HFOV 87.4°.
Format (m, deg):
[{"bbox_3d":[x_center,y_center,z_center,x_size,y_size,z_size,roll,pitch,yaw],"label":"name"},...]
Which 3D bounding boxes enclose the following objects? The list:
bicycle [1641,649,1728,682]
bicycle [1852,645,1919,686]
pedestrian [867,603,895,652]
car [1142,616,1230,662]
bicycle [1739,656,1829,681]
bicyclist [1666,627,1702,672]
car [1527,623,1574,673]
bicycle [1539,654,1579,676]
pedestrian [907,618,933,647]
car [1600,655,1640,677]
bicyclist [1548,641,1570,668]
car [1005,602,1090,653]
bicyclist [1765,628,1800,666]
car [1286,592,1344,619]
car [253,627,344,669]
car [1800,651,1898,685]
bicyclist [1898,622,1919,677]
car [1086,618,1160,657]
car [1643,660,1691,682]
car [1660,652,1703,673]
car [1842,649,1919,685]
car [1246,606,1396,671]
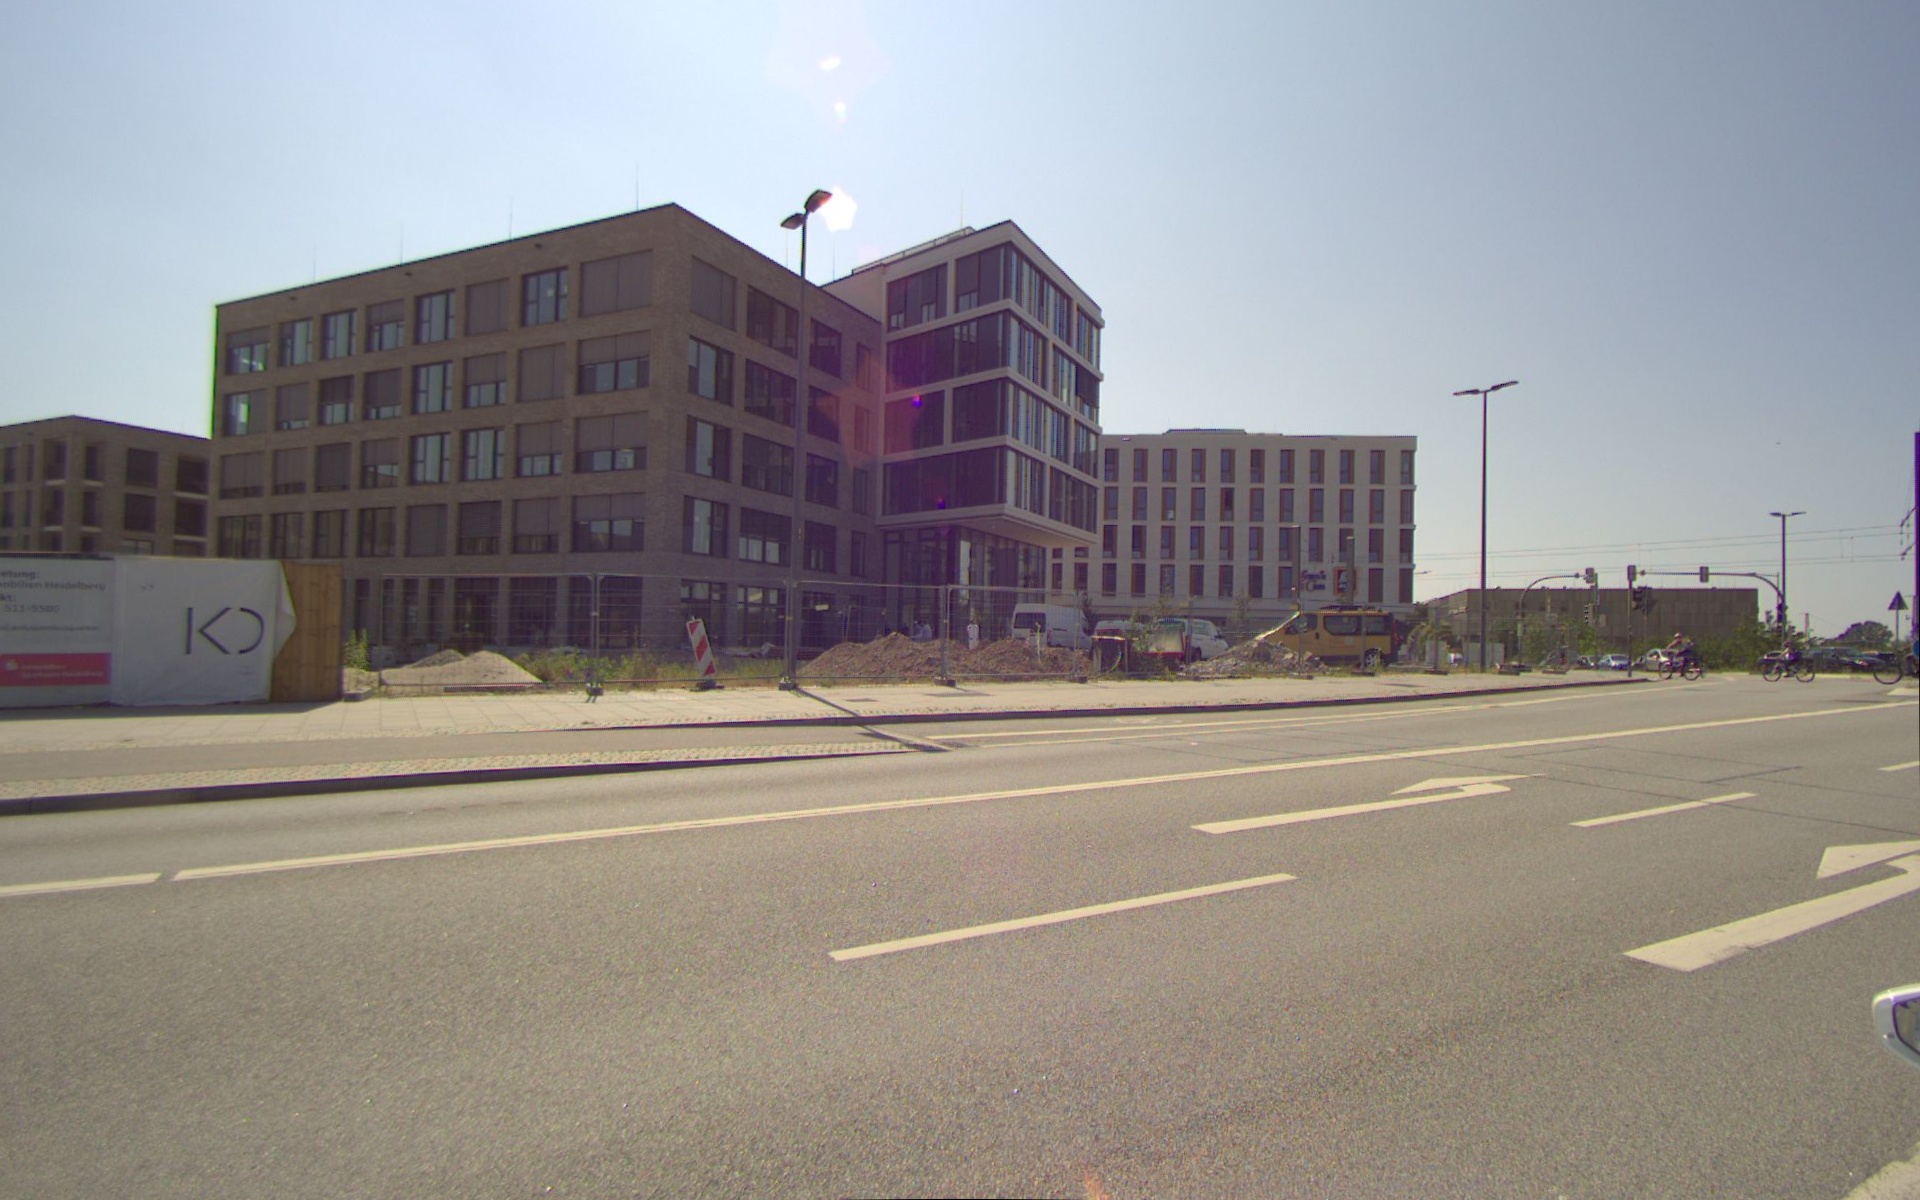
[{"bbox_3d":[25.313,2.268,35.163,0.597,1.020,2.497,2,-1,-25],"label":"bicycle"},{"bbox_3d":[28.185,1.919,29.767,0.723,1.148,2.502,0,-5,-43],"label":"bicycle"},{"bbox_3d":[-3.425,1.174,43.327,0.949,2.040,0.940,2,0,-17],"label":"pedestrian"},{"bbox_3d":[9.545,1.623,42.137,1.969,1.730,4.546,2,0,35],"label":"car"},{"bbox_3d":[26.859,2.228,32.797,0.509,0.701,2.236,2,-1,-29],"label":"bicycle"},{"bbox_3d":[25.331,1.723,35.157,0.832,1.522,0.655,2,0,-25],"label":"bicyclist"},{"bbox_3d":[26.145,2.085,44.433,1.646,2.040,3.991,2,0,31],"label":"car"},{"bbox_3d":[35.146,3.820,58.959,0.626,1.148,2.321,2,-1,-11],"label":"bicycle"},{"bbox_3d":[-1.970,1.603,49.412,1.099,1.391,0.742,2,0,-17],"label":"pedestrian"},{"bbox_3d":[50.254,4.999,76.534,1.554,1.458,3.155,2,0,15],"label":"car"},{"bbox_3d":[35.180,3.172,58.978,0.810,1.524,0.719,2,0,-12],"label":"bicyclist"},{"bbox_3d":[3.948,1.230,44.709,2.175,2.083,4.164,2,0,30],"label":"car"},{"bbox_3d":[26.878,1.540,32.819,0.722,1.191,0.654,2,0,-29],"label":"bicyclist"},{"bbox_3d":[28.984,0.406,82.056,1.986,2.040,3.949,2,0,-43],"label":"car"},{"bbox_3d":[-30.437,2.180,46.218,3.708,1.675,1.834,2,0,26],"label":"car"},{"bbox_3d":[45.212,3.440,51.174,1.633,1.408,3.788,2,0,1],"label":"car"},{"bbox_3d":[28.296,1.457,29.641,0.857,1.580,0.814,2,0,-43],"label":"bicyclist"},{"bbox_3d":[7.161,1.610,43.763,1.773,1.528,3.991,2,0,31],"label":"car"},{"bbox_3d":[46.418,4.649,65.954,1.255,1.257,2.482,2,-1,-6],"label":"car"},{"bbox_3d":[65.449,5.641,91.167,1.614,1.677,3.393,2,0,5],"label":"car"},{"bbox_3d":[59.910,4.297,65.063,1.960,2.040,4.000,2,0,1],"label":"car"},{"bbox_3d":[12.034,1.255,33.772,4.395,1.915,2.001,2,0,8],"label":"car"}]
